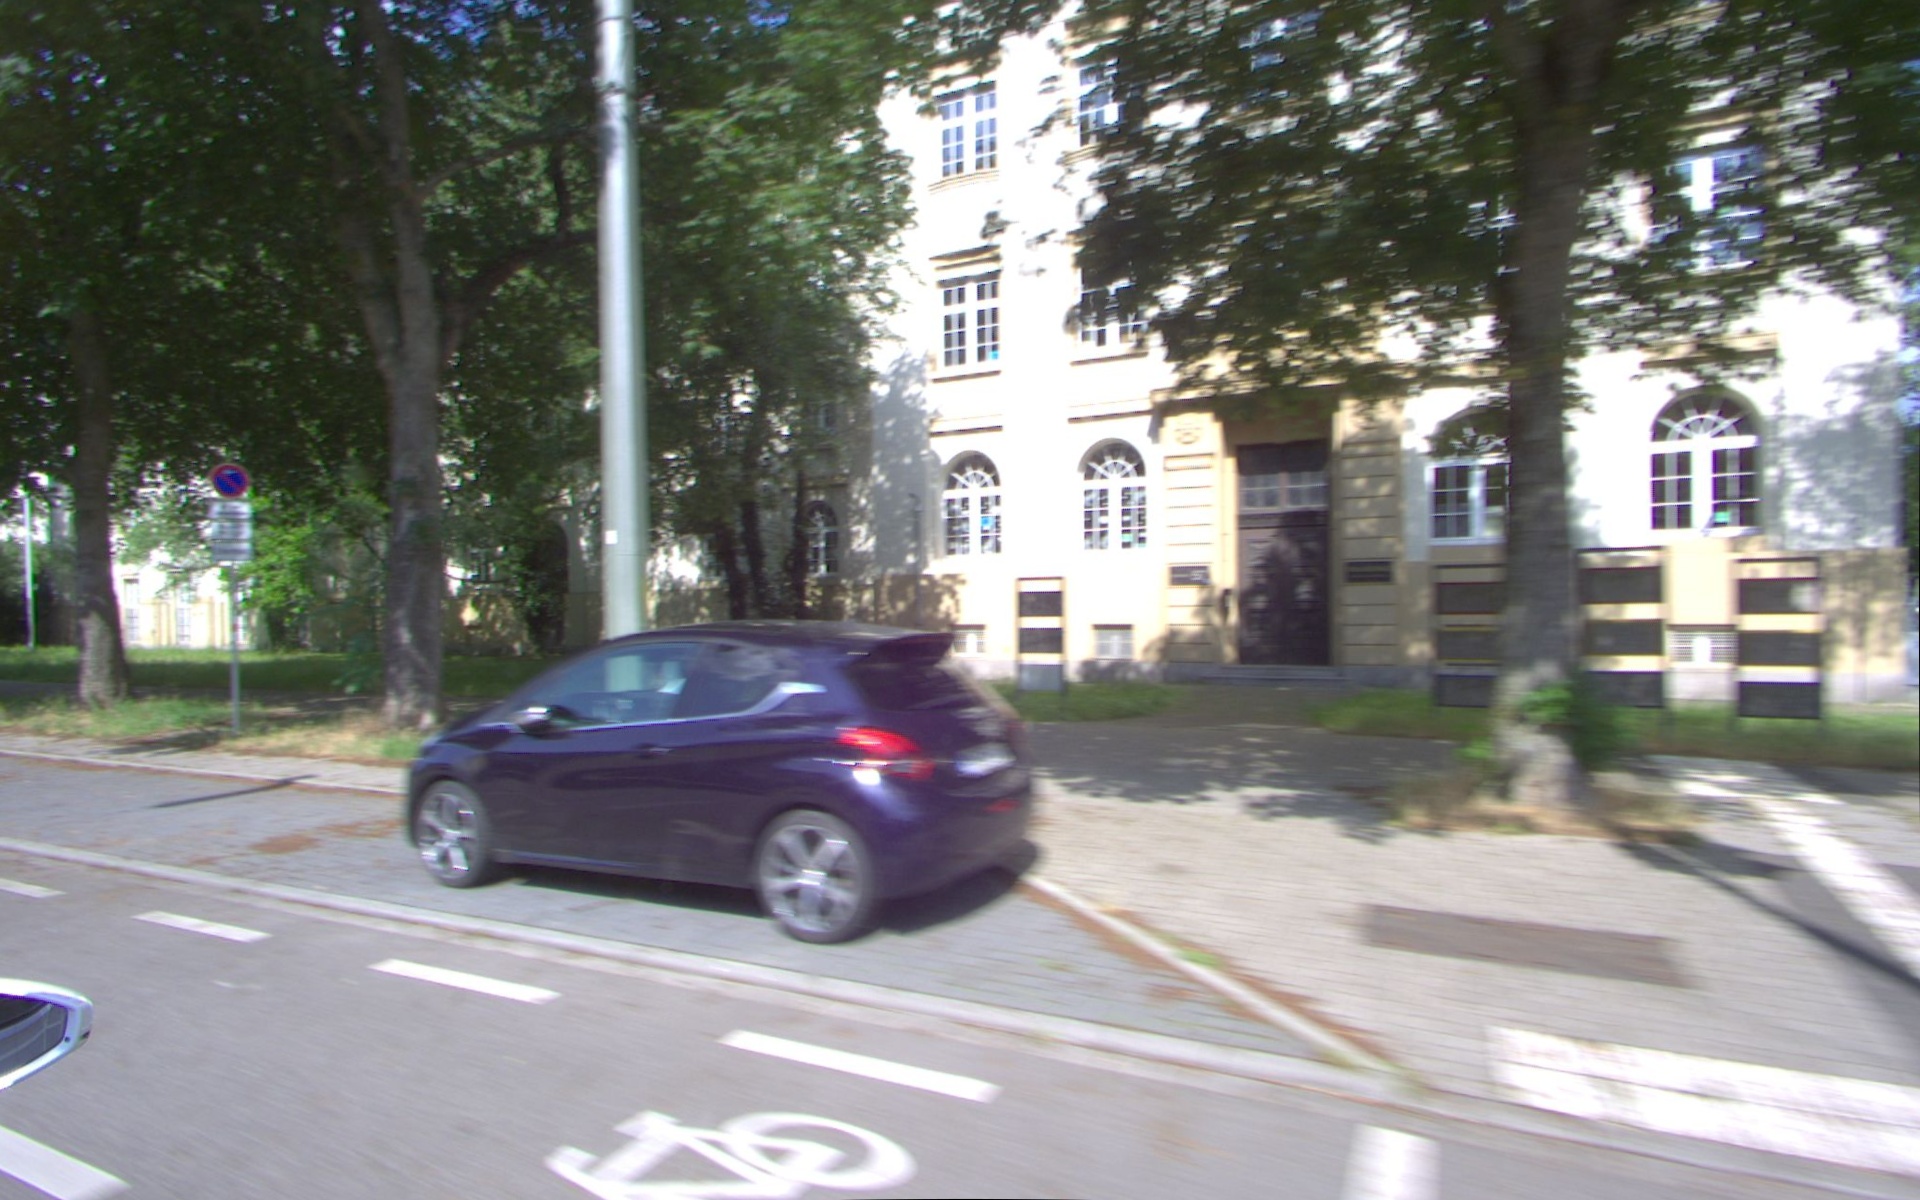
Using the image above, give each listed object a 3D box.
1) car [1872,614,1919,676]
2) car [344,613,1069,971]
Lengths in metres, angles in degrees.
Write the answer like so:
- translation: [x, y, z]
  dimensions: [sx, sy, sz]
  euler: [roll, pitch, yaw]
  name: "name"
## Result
- translation: [24.021, 1.067, 23.718]
  dimensions: [1.567, 1.475, 3.257]
  euler: [0, 0, -22]
  name: "car"
- translation: [-1.481, 0.831, 5.802]
  dimensions: [3.841, 1.452, 1.764]
  euler: [-1, 1, 26]
  name: "car"
